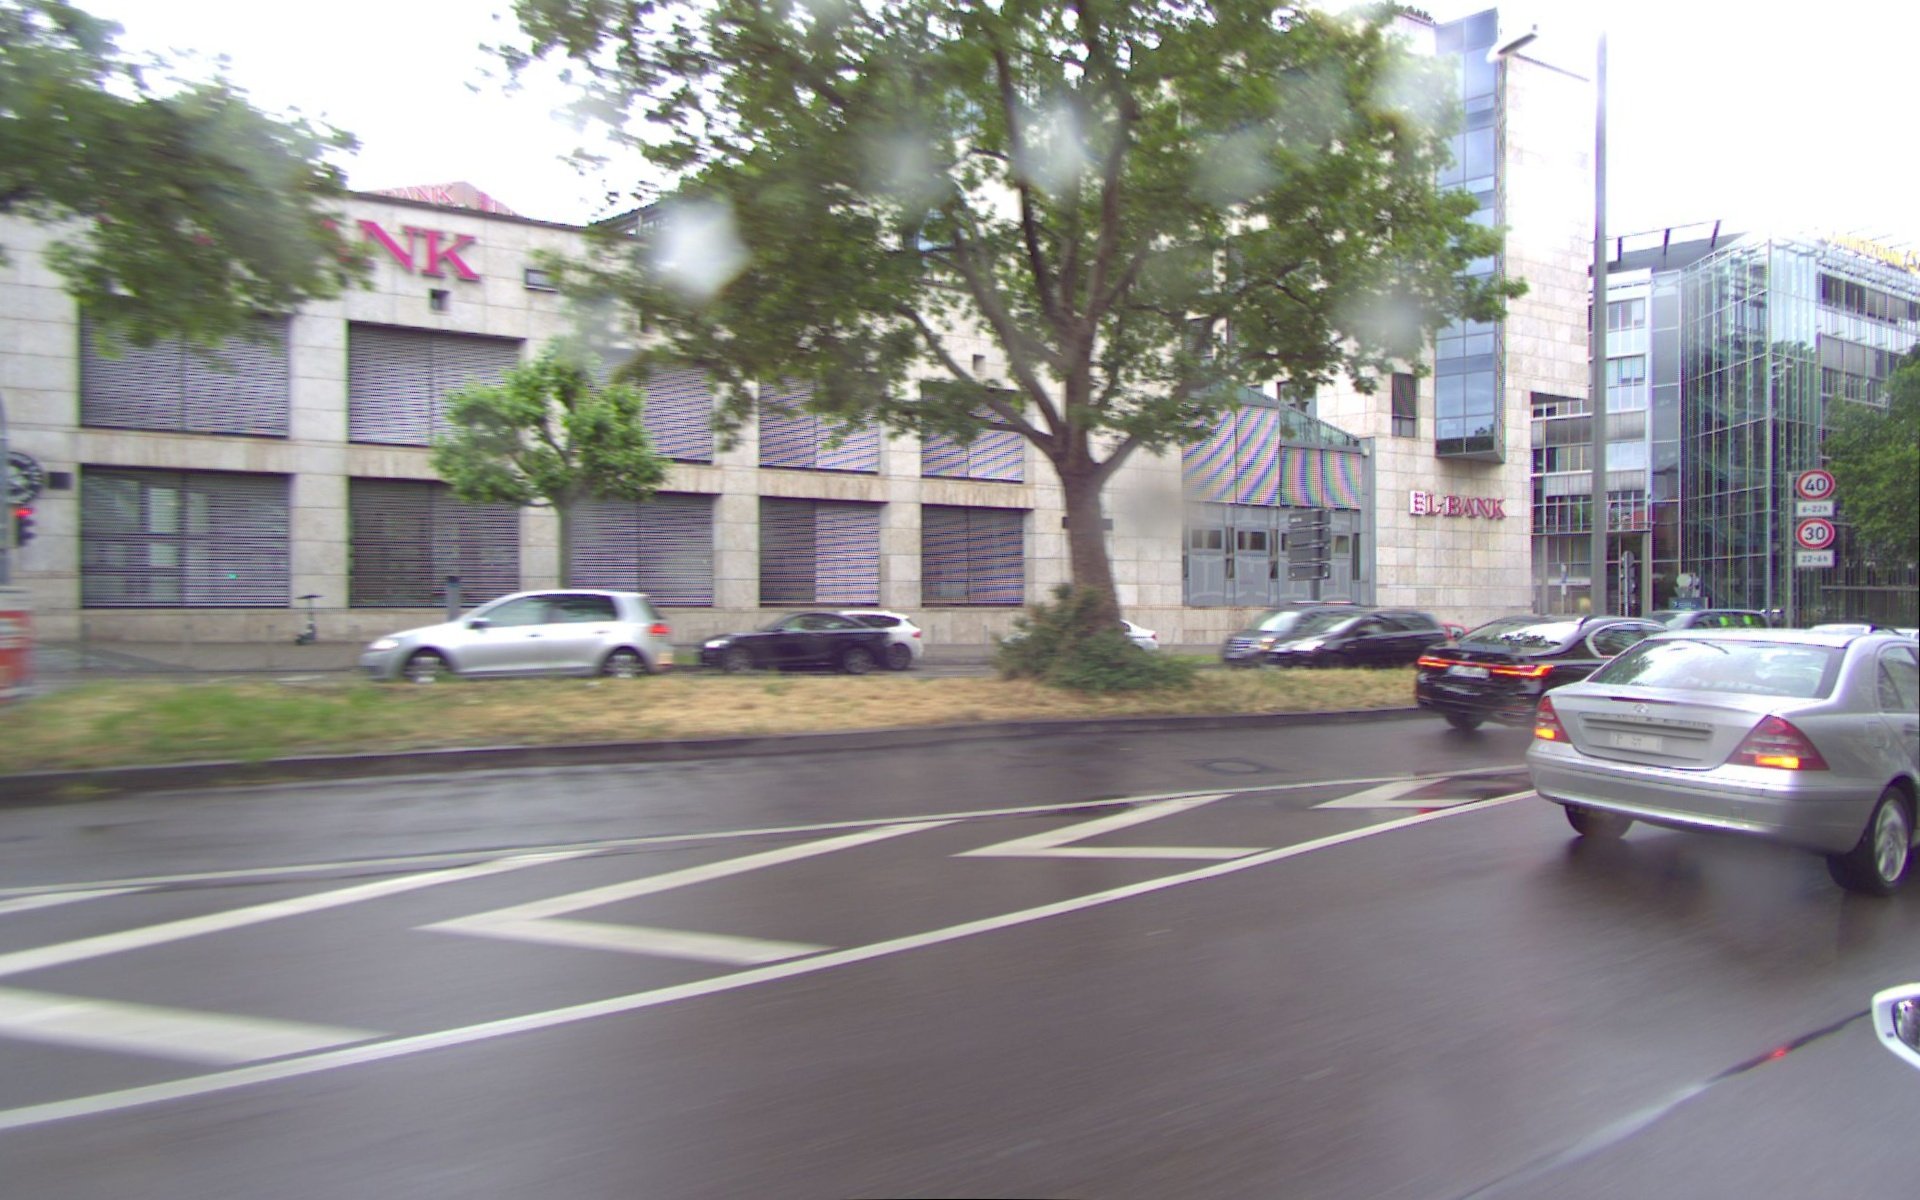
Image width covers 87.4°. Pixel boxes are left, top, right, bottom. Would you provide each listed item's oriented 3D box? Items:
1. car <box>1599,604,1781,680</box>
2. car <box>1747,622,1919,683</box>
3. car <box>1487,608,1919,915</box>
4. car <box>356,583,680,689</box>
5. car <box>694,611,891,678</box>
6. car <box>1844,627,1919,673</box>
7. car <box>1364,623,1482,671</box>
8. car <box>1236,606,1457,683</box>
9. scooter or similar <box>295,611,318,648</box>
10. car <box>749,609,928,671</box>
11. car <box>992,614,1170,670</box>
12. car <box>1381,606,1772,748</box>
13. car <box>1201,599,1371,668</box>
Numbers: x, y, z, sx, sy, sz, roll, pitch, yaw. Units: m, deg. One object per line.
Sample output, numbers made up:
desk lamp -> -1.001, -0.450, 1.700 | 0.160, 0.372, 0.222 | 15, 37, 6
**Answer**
car -> 20.922, 1.217, 28.785 | 5.029, 2.028, 1.828 | 2, -1, -22
car -> 22.890, 1.373, 26.198 | 4.250, 1.461, 1.857 | 2, -1, -22
car -> 5.637, 0.859, 6.734 | 4.308, 1.498, 1.665 | 2, -1, -30
car -> -6.302, 0.540, 14.708 | 4.070, 1.382, 1.744 | 2, -1, -22
car -> -3.788, 0.992, 22.606 | 4.110, 1.382, 1.745 | 2, -1, -20
car -> 32.093, 1.684, 33.824 | 4.331, 1.451, 1.724 | 2, -1, -22
car -> 15.070, 1.527, 32.737 | 3.350, 1.434, 1.590 | 2, -1, -20
car -> 7.641, 0.884, 19.884 | 3.883, 1.382, 1.745 | 2, -1, -20
scooter or similar -> -17.353, 0.781, 26.678 | 0.344, 0.931, 1.412 | 1, 0, -26
car -> -3.101, 1.022, 25.579 | 4.228, 1.434, 1.745 | 2, -1, -20
car -> 3.371, 1.168, 27.996 | 4.634, 1.434, 1.745 | 2, -1, -21
car -> 7.838, 0.855, 12.721 | 4.811, 1.498, 1.867 | 0, -1, -25
car -> 8.445, 0.870, 25.983 | 4.038, 1.661, 1.825 | 2, -1, -26
